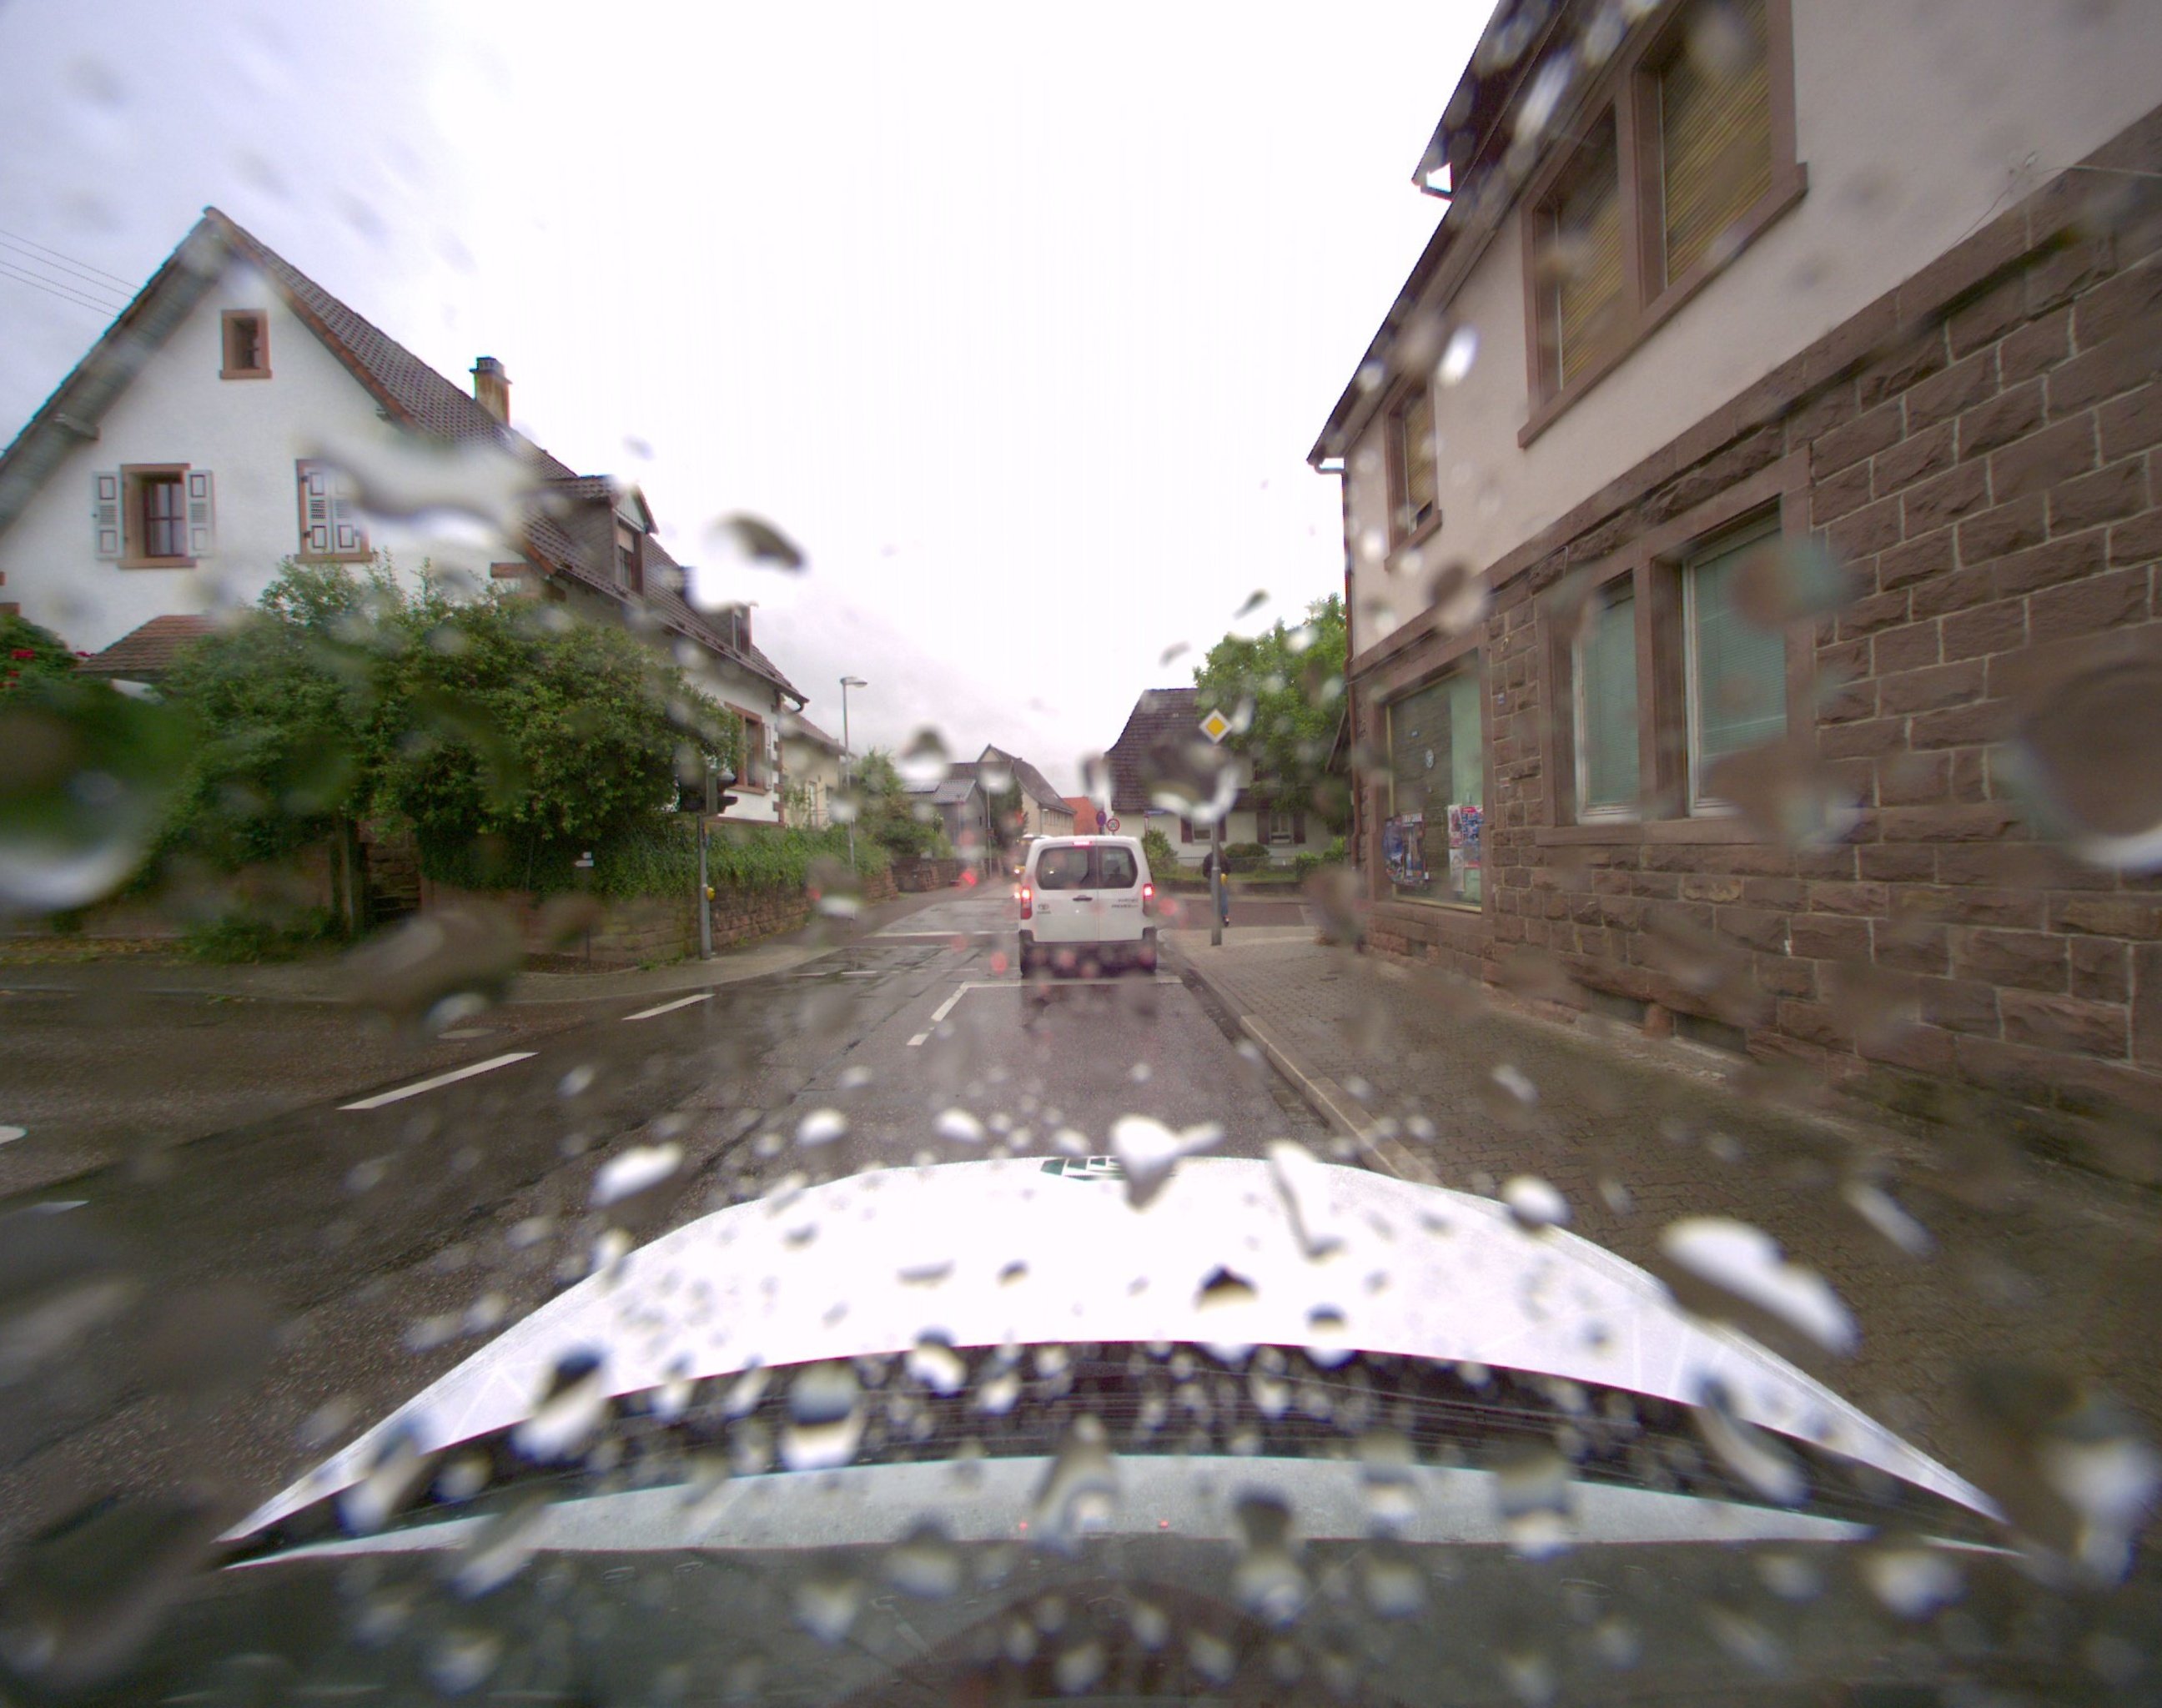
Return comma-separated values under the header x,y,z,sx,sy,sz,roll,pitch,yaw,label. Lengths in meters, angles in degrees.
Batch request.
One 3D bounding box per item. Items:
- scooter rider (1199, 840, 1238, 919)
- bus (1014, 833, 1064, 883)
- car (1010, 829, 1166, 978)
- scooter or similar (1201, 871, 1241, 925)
x,y,z,sx,sy,sz,roll,pitch,yaw,label
3.083,0.572,18.256,0.729,1.733,0.518,-2,-1,-1,scooter rider
-2.721,0.084,56.496,2.640,2.999,12.194,-1,1,1,bus
0.081,0.601,11.876,1.888,1.794,3.812,-1,0,0,car
3.098,0.957,18.120,0.618,1.127,1.401,-2,-1,-1,scooter or similar
